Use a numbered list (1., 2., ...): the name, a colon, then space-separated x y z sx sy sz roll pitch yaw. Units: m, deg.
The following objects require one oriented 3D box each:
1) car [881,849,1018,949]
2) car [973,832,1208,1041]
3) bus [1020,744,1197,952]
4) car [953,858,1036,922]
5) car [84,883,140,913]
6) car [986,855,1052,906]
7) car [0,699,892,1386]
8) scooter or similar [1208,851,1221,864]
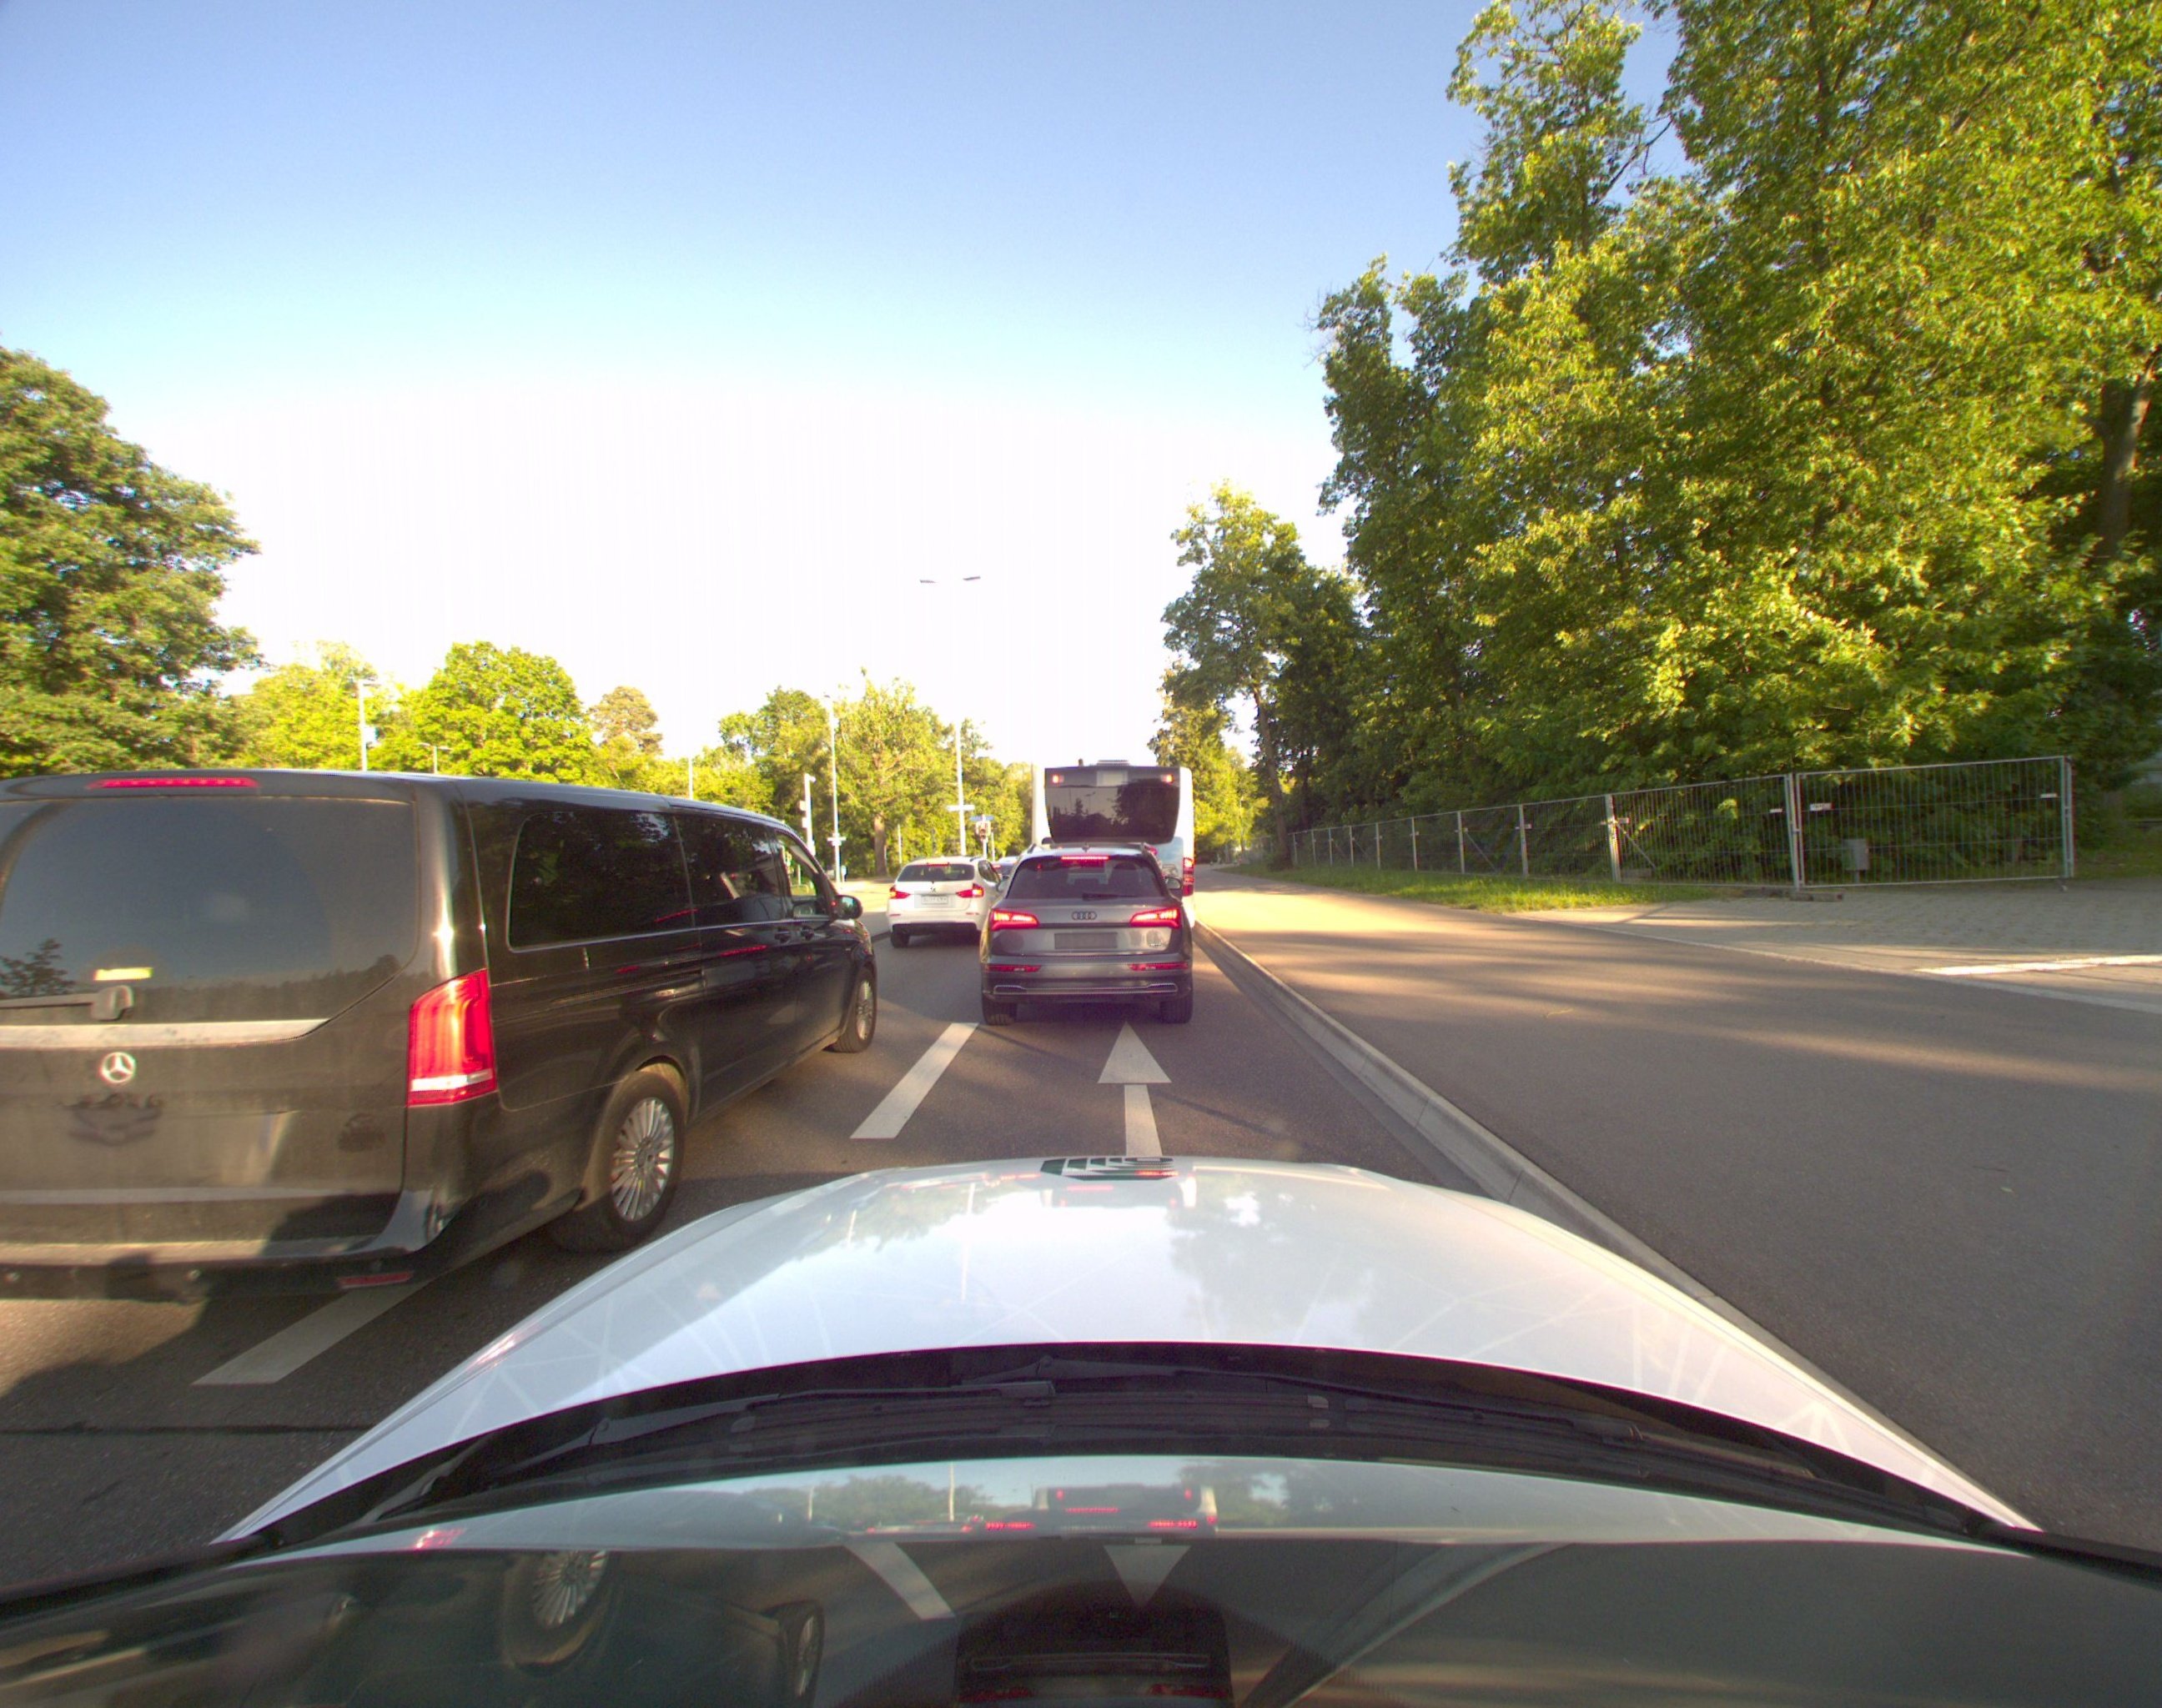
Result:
1. car: -2.284 0.763 15.294 1.712 1.581 4.435 0 -1 2
2. car: 0.137 0.640 8.499 1.861 1.663 4.002 0 0 2
3. bus: 0.575 -0.114 15.300 2.667 3.142 5.887 0 0 3
4. car: -2.169 0.865 21.456 1.780 1.444 4.276 0 1 -1
5. car: -58.164 2.602 48.884 3.948 1.618 2.013 -1 -1 38
6. car: -2.048 0.854 27.861 1.801 1.572 4.002 0 1 2
7. car: -2.640 0.509 4.648 1.900 1.856 4.873 0 0 1
8. scooter or similar: 12.795 0.327 77.859 1.175 1.174 0.661 0 0 13
